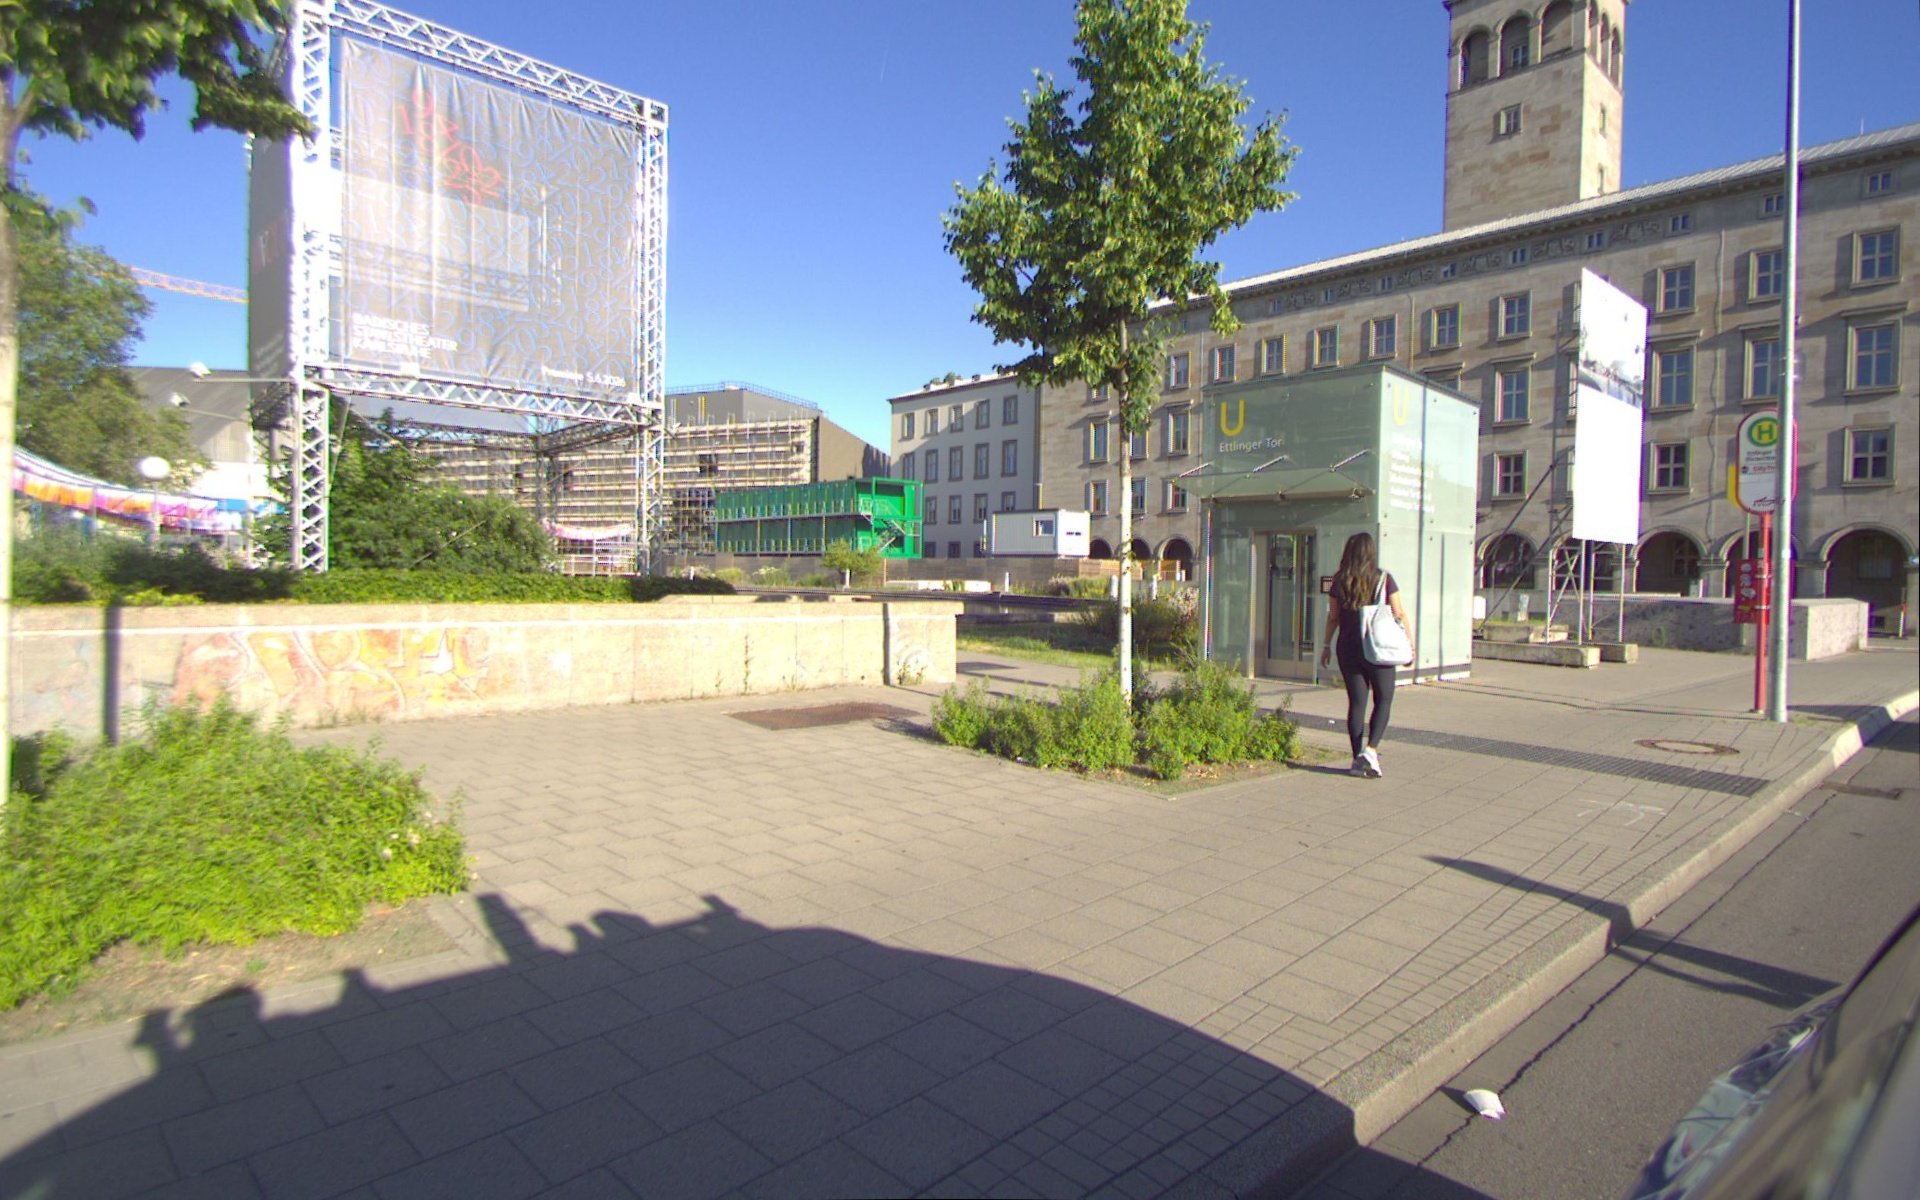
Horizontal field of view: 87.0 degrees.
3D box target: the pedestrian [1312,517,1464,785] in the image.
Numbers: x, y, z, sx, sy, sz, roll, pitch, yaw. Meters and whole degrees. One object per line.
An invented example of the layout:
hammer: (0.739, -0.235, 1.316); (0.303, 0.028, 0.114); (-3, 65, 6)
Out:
pedestrian: (3.117, 0.324, 7.487); (0.931, 1.809, 1.065); (1, 1, 20)
